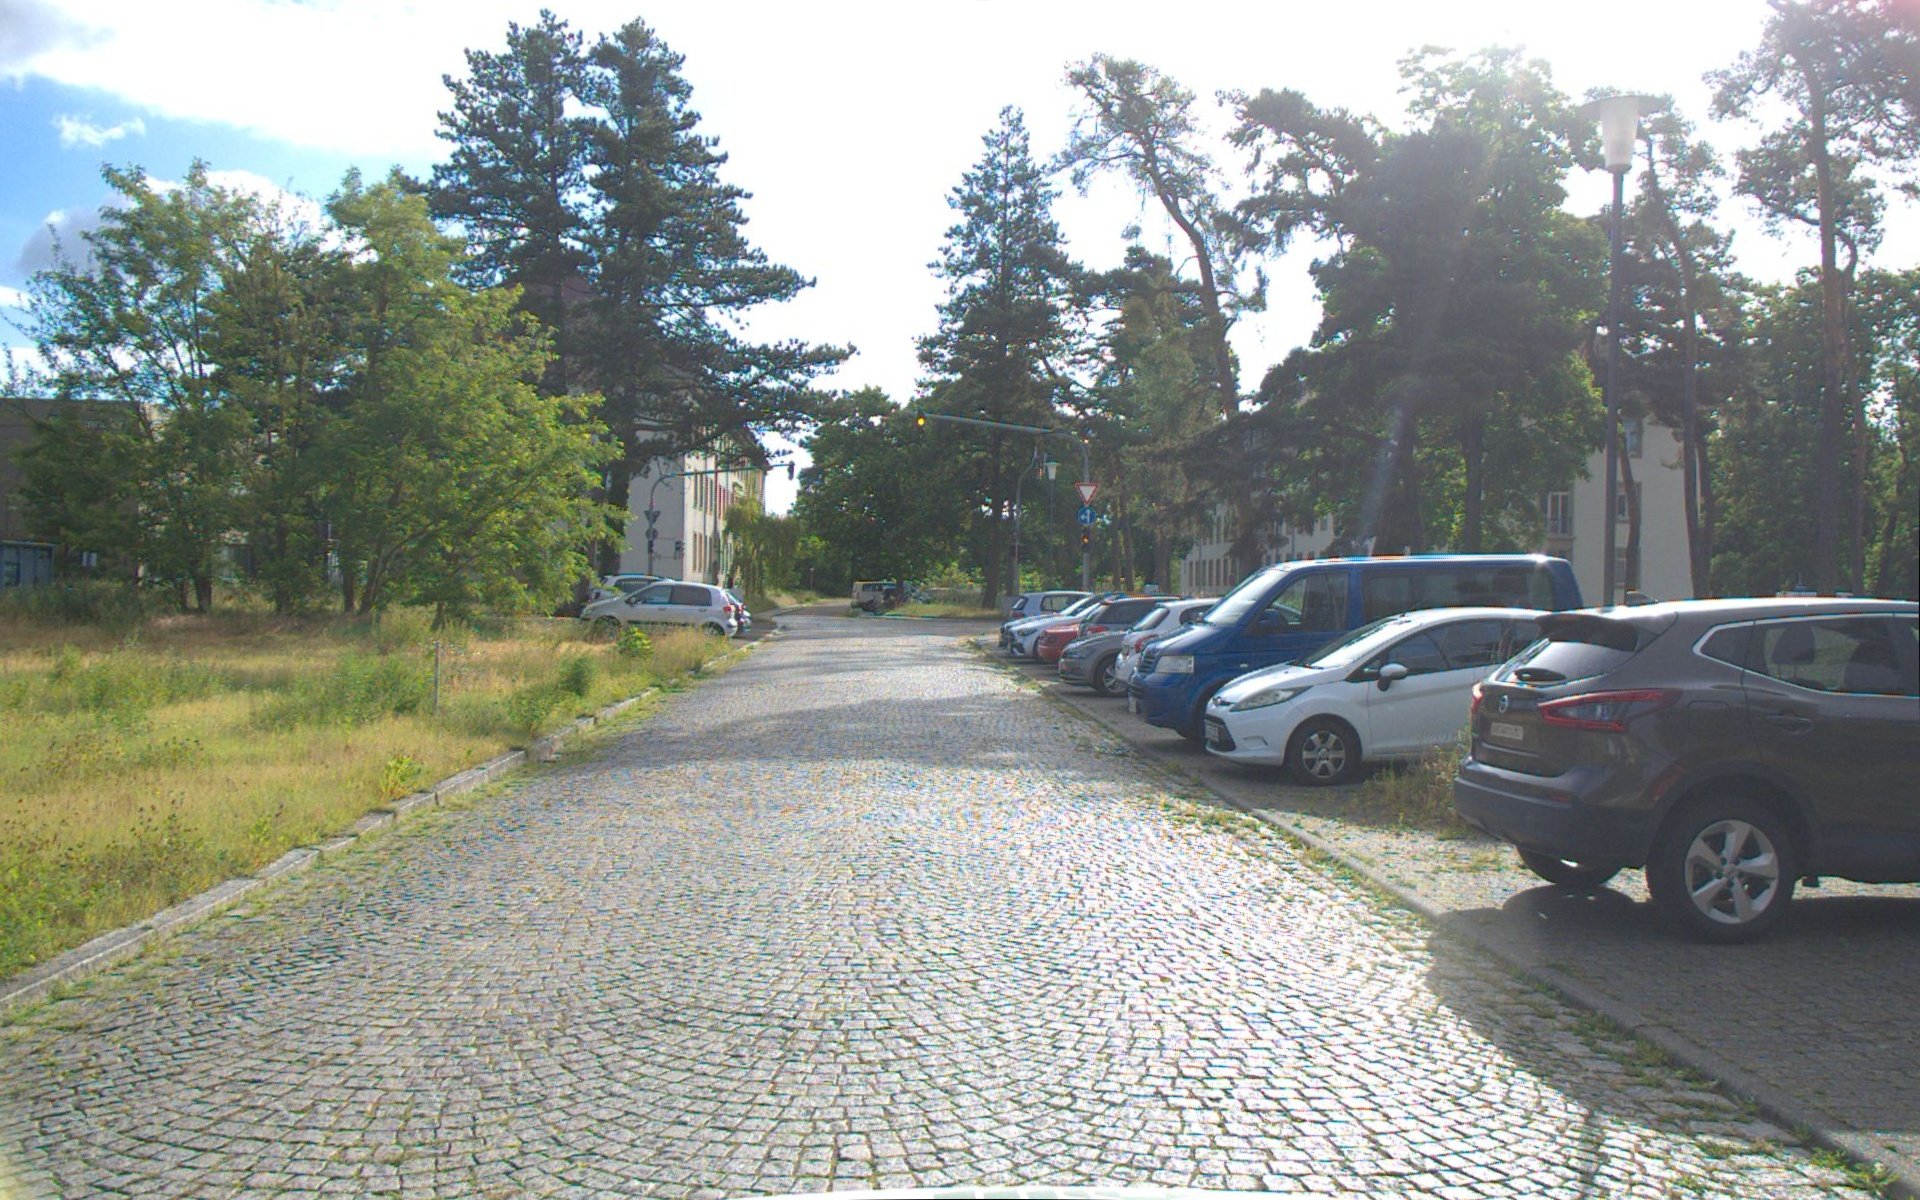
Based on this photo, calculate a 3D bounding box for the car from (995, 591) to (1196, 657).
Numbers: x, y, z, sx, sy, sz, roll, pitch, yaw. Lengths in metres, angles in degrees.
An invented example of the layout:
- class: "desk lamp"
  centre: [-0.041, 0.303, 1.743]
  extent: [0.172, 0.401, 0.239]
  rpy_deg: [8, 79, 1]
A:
- class: "car"
  centre: [3.130, 0.551, 38.690]
  extent: [4.421, 1.499, 1.892]
  rpy_deg: [0, 0, -8]

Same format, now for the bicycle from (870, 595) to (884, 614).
- class: "bicycle"
  centre: [-4.453, 0.236, 88.386]
  extent: [0.713, 1.016, 1.798]
  rpy_deg: [0, 1, -3]

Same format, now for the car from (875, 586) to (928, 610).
- class: "car"
  centre: [-3.702, -0.118, 104.419]
  extent: [2.983, 1.491, 1.712]
  rpy_deg: [1, -1, -16]

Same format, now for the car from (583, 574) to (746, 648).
- class: "car"
  centre: [-7.058, 0.269, 39.763]
  extent: [3.612, 1.499, 1.847]
  rpy_deg: [4, -1, -5]

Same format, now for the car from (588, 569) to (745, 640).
- class: "car"
  centre: [-7.945, 0.123, 45.062]
  extent: [4.045, 1.627, 1.855]
  rpy_deg: [4, -1, -8]

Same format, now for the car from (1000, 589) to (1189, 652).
- class: "car"
  centre: [3.319, 0.496, 41.332]
  extent: [4.455, 1.531, 1.931]
  rpy_deg: [0, 0, -6]

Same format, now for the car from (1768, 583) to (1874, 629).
- class: "car"
  centre: [50.774, 0.369, 97.585]
  extent: [5.055, 2.580, 2.263]
  rpy_deg: [1, 0, -2]

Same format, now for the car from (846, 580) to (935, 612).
- class: "car"
  centre: [-4.567, -0.250, 107.933]
  extent: [5.414, 1.949, 2.243]
  rpy_deg: [1, 0, -18]

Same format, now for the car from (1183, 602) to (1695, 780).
- class: "car"
  centre: [4.256, 0.769, 15.019]
  extent: [4.111, 1.495, 1.805]
  rpy_deg: [0, 0, -7]

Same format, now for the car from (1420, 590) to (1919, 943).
- class: "car"
  centre: [4.741, 0.769, 8.685]
  extent: [4.108, 1.616, 1.876]
  rpy_deg: [0, 0, -5]

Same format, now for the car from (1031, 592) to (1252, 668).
- class: "car"
  centre: [3.650, 0.594, 33.668]
  extent: [4.255, 1.499, 1.738]
  rpy_deg: [0, 0, -4]

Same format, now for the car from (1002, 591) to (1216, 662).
- class: "car"
  centre: [3.186, 0.566, 35.911]
  extent: [4.417, 1.499, 1.848]
  rpy_deg: [0, 0, -4]

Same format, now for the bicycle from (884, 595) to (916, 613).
- class: "bicycle"
  centre: [-3.387, 0.237, 93.073]
  extent: [1.758, 1.016, 0.643]
  rpy_deg: [0, 1, -5]

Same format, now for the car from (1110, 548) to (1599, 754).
- class: "car"
  centre: [4.057, 0.497, 17.521]
  extent: [4.640, 1.962, 1.990]
  rpy_deg: [-1, 0, -5]

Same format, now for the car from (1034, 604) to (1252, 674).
- class: "car"
  centre: [3.405, 0.724, 31.271]
  extent: [3.872, 1.283, 1.725]
  rpy_deg: [0, 0, -3]

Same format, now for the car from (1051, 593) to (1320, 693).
- class: "car"
  centre: [3.439, 0.643, 25.703]
  extent: [3.872, 1.493, 1.829]
  rpy_deg: [0, 0, -3]

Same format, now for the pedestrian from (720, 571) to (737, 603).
- class: "pedestrian"
  centre: [-14.502, -0.811, 103.692]
  extent: [0.966, 1.998, 0.932]
  rpy_deg: [1, -1, -4]

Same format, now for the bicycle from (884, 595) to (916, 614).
- class: "bicycle"
  centre: [-3.324, 0.233, 92.056]
  extent: [1.758, 1.016, 0.643]
  rpy_deg: [0, 1, -5]

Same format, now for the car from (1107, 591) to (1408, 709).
- class: "car"
  centre: [4.042, 0.668, 22.881]
  extent: [3.797, 1.557, 1.806]
  rpy_deg: [0, 0, -3]

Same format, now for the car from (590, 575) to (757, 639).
- class: "car"
  centre: [-8.187, 0.197, 47.592]
  extent: [4.499, 1.480, 1.901]
  rpy_deg: [4, 1, -6]

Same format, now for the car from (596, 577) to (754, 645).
- class: "car"
  centre: [-7.252, 0.274, 42.409]
  extent: [3.754, 1.454, 1.857]
  rpy_deg: [4, -1, -5]

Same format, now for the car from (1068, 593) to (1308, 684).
- class: "car"
  centre: [3.894, 0.644, 28.660]
  extent: [3.872, 1.521, 1.771]
  rpy_deg: [0, 0, -3]
